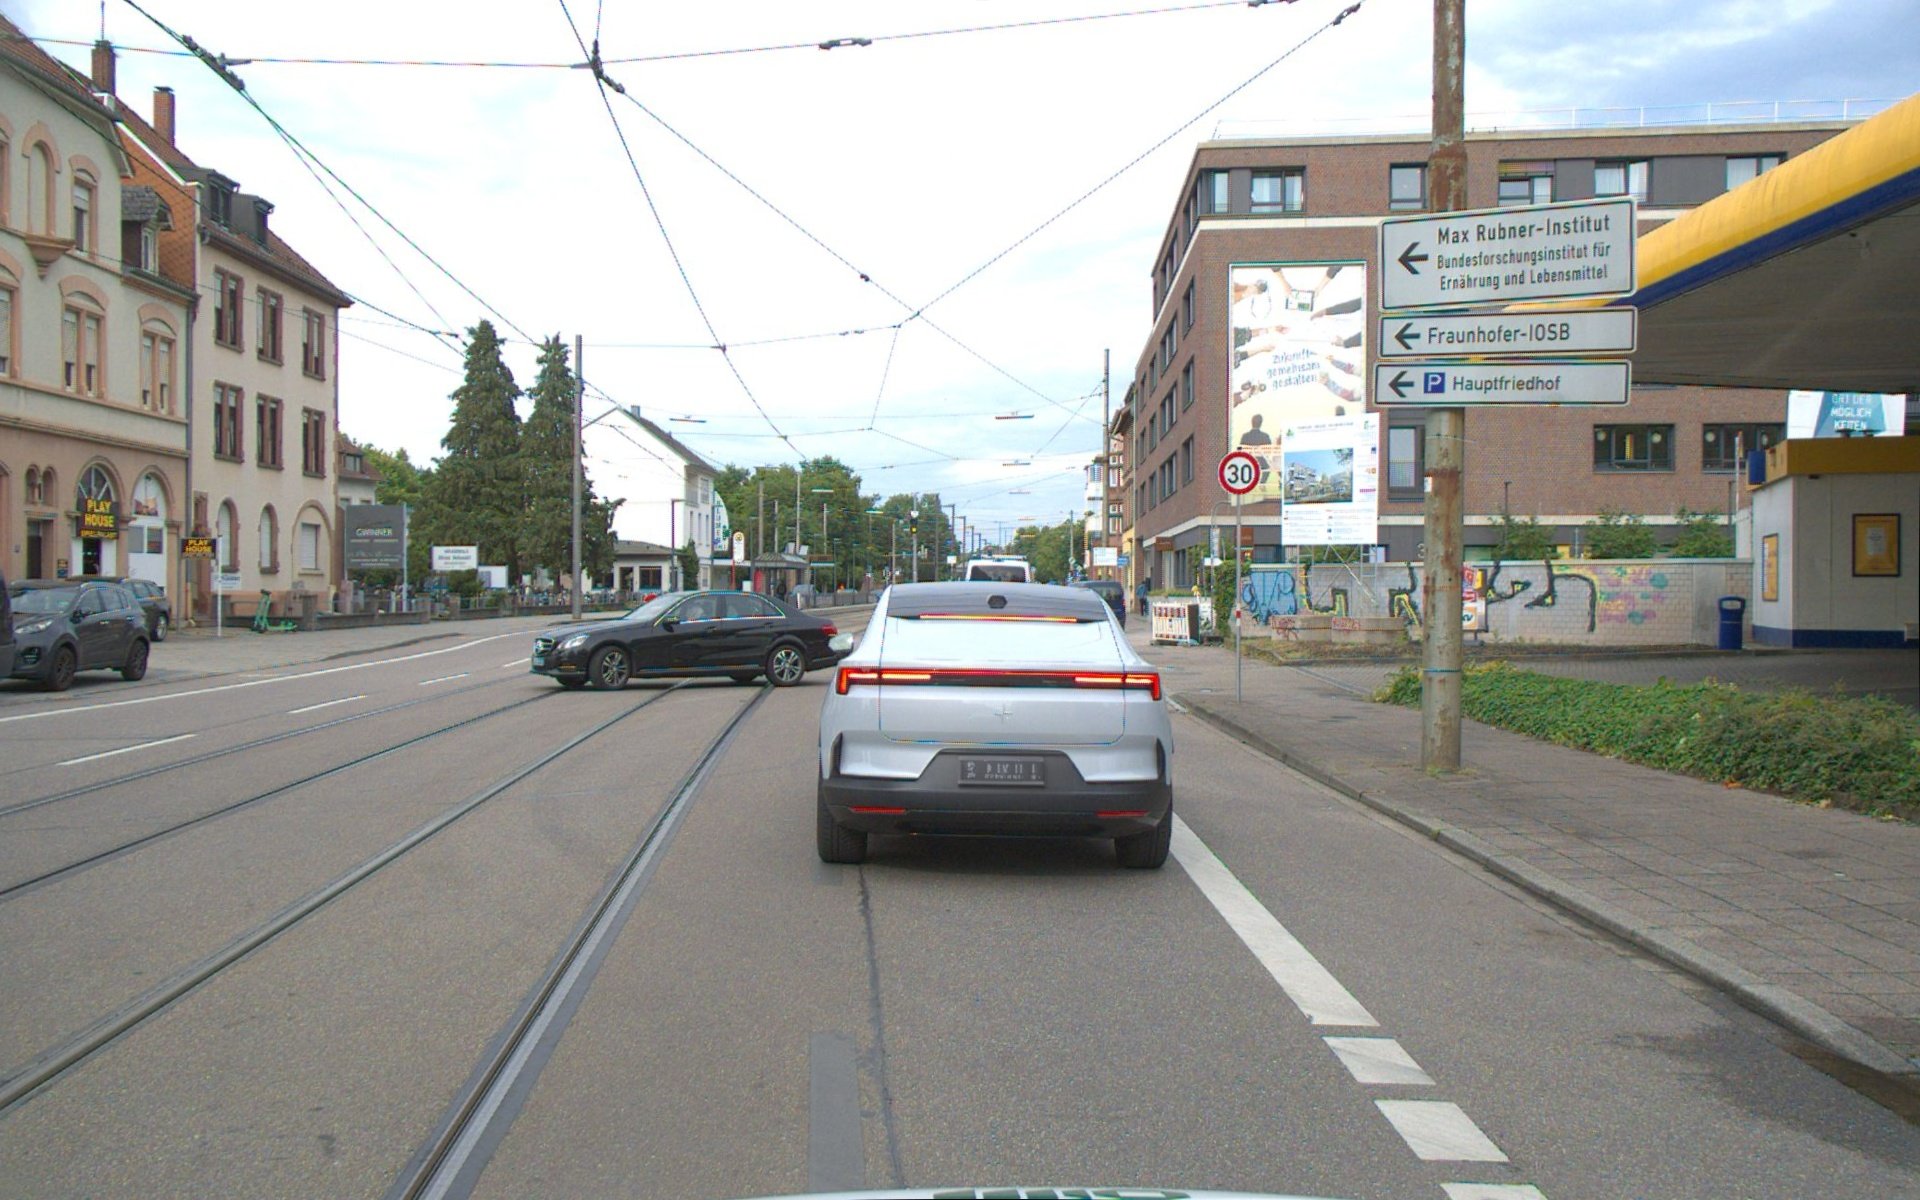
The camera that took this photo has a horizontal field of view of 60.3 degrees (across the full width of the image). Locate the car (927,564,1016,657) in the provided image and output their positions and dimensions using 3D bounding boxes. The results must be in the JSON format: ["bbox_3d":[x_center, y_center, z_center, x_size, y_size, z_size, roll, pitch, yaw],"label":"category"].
[{"bbox_3d":[0.221,0.241,39.208,1.953,2.049,3.999,1,0,-1],"label":"car"}]

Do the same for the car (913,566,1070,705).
[{"bbox_3d":[0.365,0.476,23.677,1.930,1.787,3.835,1,0,-3],"label":"car"}]

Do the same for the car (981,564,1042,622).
[{"bbox_3d":[2.016,-0.271,66.091,2.096,2.183,4.742,1,0,-2],"label":"car"}]

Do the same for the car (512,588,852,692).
[{"bbox_3d":[-4.230,0.556,25.272,4.811,1.452,1.936,0,0,-27],"label":"car"}]

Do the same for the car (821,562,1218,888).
[{"bbox_3d":[0.134,0.611,10.249,1.943,1.577,4.179,1,0,-5],"label":"car"}]

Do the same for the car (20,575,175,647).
[{"bbox_3d":[-19.719,0.247,37.999,1.718,1.527,3.744,1,0,-3],"label":"car"}]

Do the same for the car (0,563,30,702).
[{"bbox_3d":[-14.187,0.422,21.071,1.952,1.920,4.996,1,0,-2],"label":"car"}]

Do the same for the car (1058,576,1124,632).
[{"bbox_3d":[4.554,0.160,58.167,1.837,1.855,4.094,1,0,-2],"label":"car"}]

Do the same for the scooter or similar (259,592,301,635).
[{"bbox_3d":[-19.327,0.387,47.025,1.041,1.209,0.314,2,-1,-37],"label":"scooter or similar"}]

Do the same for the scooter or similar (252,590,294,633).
[{"bbox_3d":[-19.683,0.335,47.404,1.041,1.209,0.314,2,-1,-37],"label":"scooter or similar"}]

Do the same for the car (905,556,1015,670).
[{"bbox_3d":[-0.065,0.243,32.501,1.954,2.049,3.998,1,0,-3],"label":"car"}]

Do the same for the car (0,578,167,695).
[{"bbox_3d":[-14.771,0.539,26.942,1.808,1.748,4.190,1,0,-3],"label":"car"}]

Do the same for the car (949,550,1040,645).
[{"bbox_3d":[0.906,-0.051,46.539,2.172,2.465,4.948,1,0,-3],"label":"car"}]
